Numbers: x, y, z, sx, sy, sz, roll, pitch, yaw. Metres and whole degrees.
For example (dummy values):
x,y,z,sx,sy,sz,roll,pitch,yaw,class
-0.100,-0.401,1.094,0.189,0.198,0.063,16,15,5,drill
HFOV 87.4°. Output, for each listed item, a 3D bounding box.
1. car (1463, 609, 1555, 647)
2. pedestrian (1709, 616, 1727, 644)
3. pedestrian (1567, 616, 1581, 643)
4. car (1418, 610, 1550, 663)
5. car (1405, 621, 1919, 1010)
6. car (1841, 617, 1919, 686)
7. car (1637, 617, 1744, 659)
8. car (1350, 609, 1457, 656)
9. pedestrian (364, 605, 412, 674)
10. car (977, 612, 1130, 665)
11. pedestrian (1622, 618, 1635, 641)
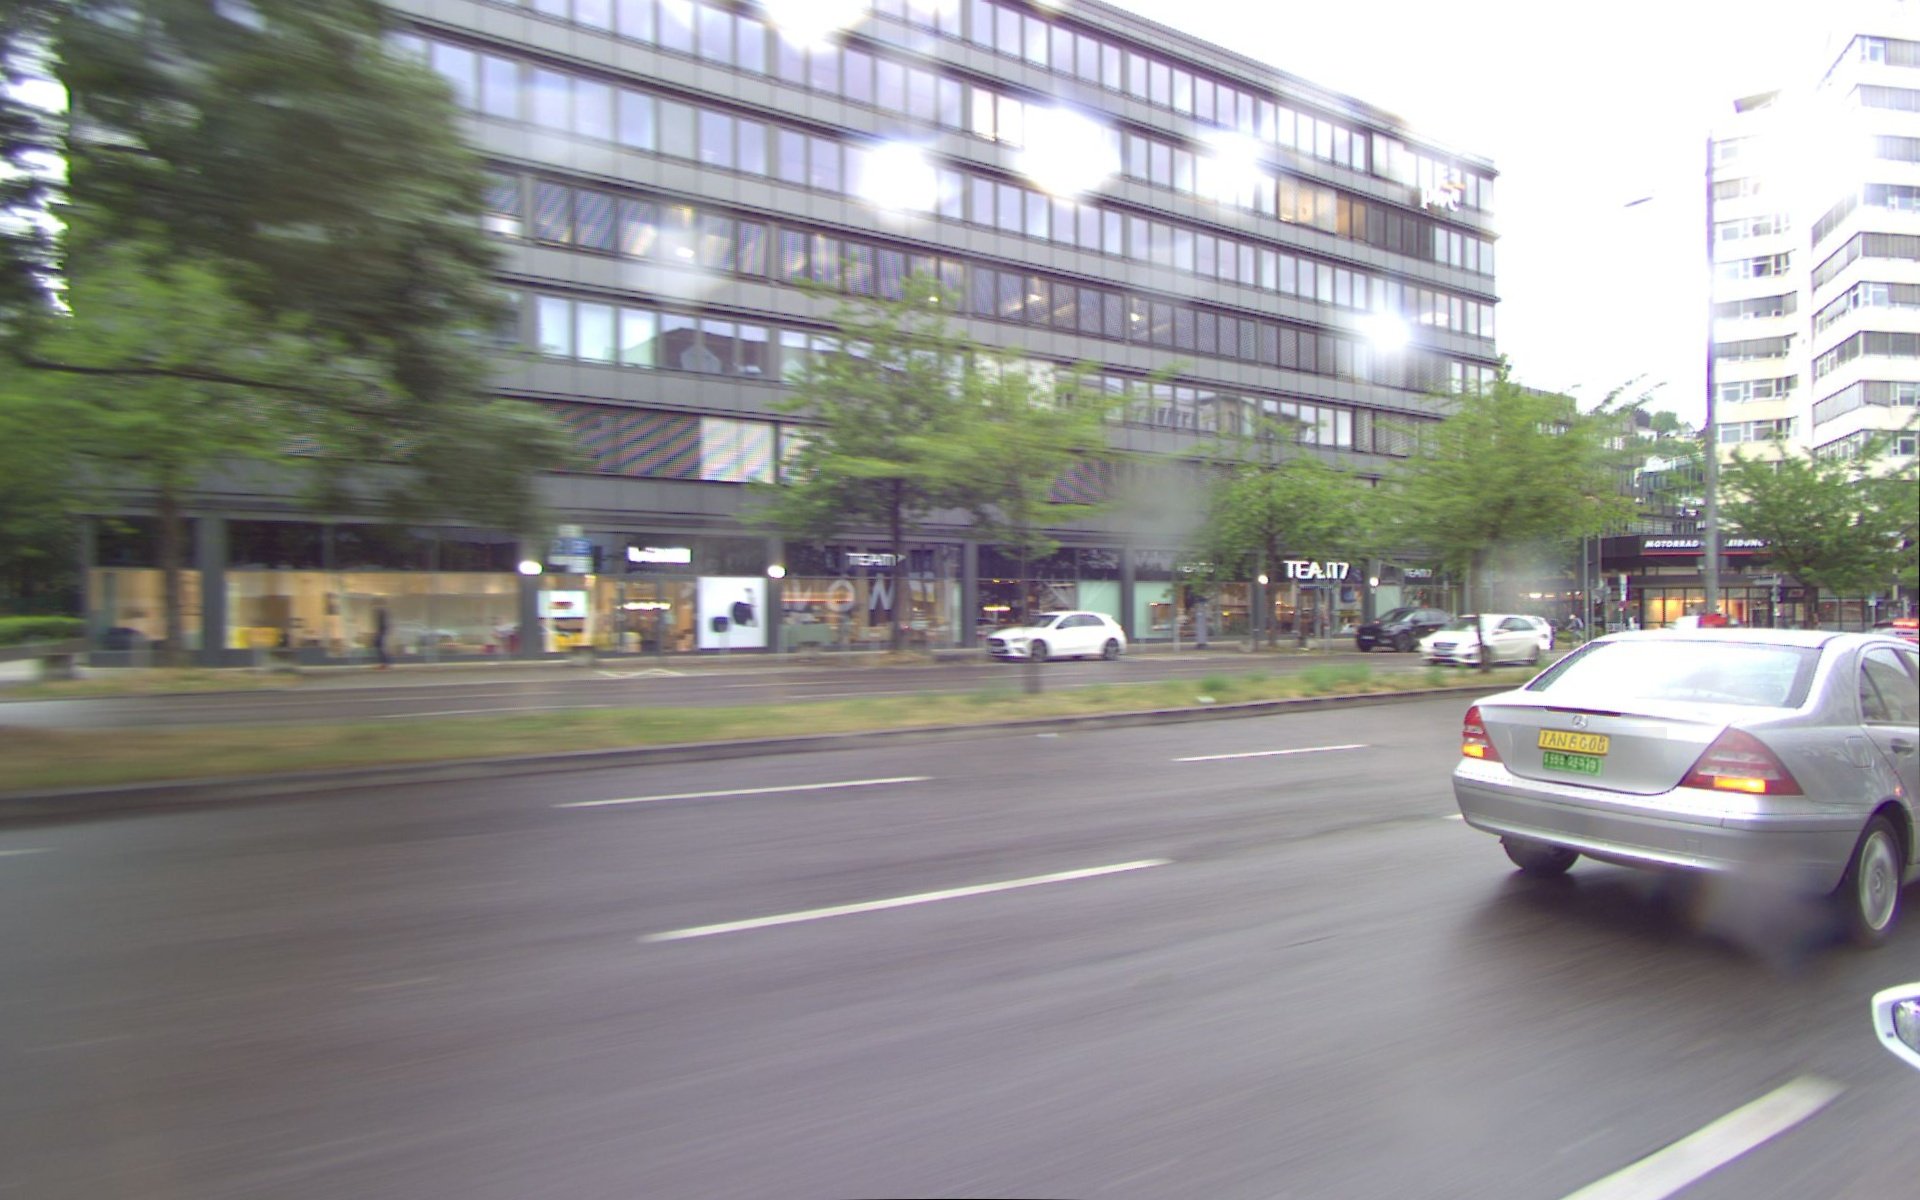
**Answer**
x,y,z,sx,sy,sz,roll,pitch,yaw,class
22.495,1.129,41.106,3.919,1.480,1.614,1,0,-32,car
47.333,1.888,62.726,0.739,1.736,0.593,0,0,22,pedestrian
34.745,1.682,56.808,0.591,1.523,0.437,0,0,22,pedestrian
15.784,1.098,30.220,4.259,1.512,1.615,2,-2,-32,car
4.680,0.912,5.801,4.309,1.499,1.664,1,0,-30,car
22.005,1.169,22.964,3.955,1.476,1.765,2,-2,-32,car
26.905,1.408,36.972,4.111,1.472,1.616,2,-2,-29,car
16.709,1.192,37.756,4.185,1.632,1.614,1,0,-32,car
-14.702,1.010,25.813,1.045,1.738,0.739,1,-1,-31,pedestrian
2.769,1.119,29.298,4.397,1.451,1.615,2,-2,-32,car
44.139,1.941,66.335,0.654,1.523,0.437,0,0,22,pedestrian
